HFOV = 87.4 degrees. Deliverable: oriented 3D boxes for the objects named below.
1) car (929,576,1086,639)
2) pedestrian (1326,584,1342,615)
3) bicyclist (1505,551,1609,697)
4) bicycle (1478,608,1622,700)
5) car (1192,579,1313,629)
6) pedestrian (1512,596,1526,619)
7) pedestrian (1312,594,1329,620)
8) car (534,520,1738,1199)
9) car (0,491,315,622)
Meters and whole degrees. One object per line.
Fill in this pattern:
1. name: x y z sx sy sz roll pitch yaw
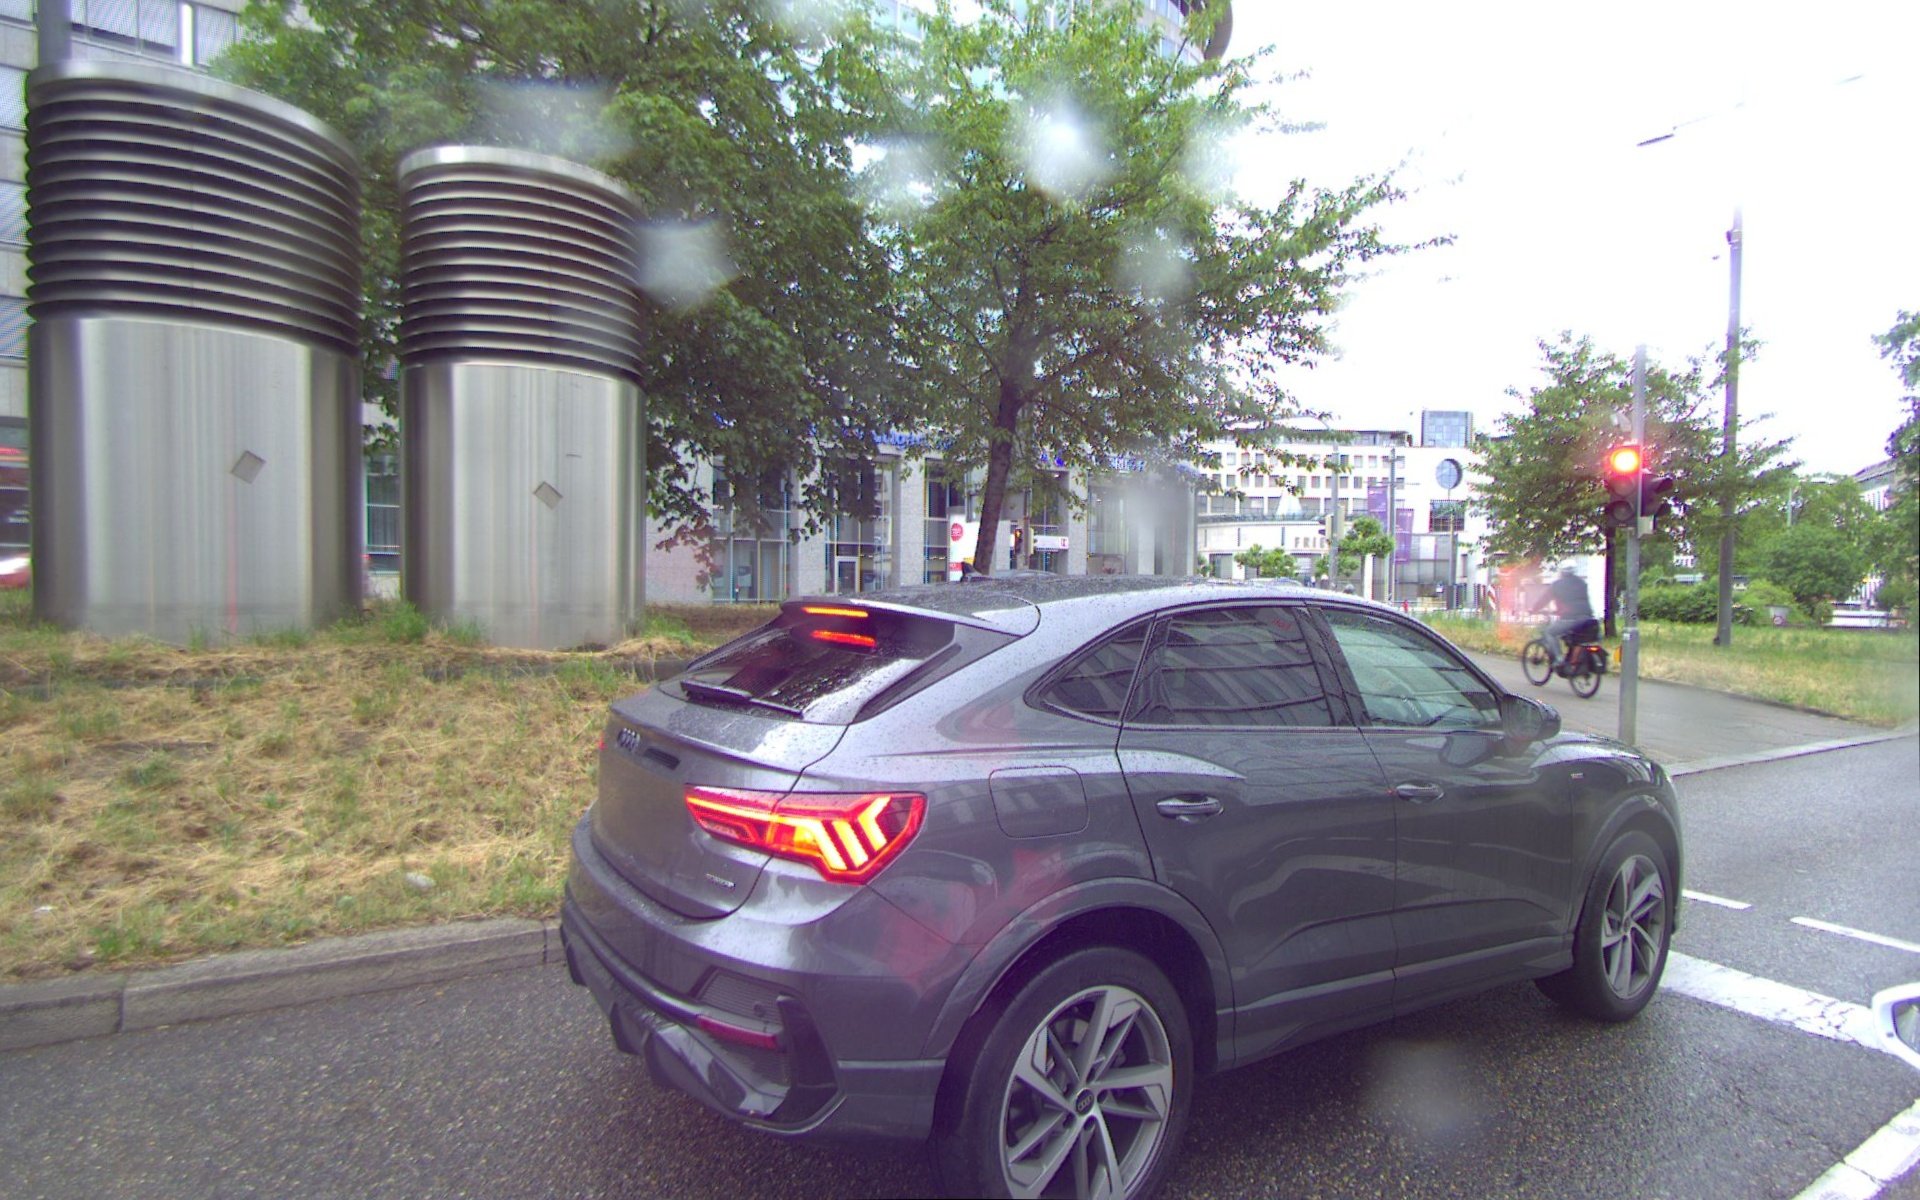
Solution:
1. car: 1.302 0.195 26.658 3.968 1.506 1.789 1 3 -41
2. pedestrian: 21.939 0.000 58.860 0.721 1.786 0.614 1 -2 -44
3. bicyclist: 9.022 0.326 15.232 0.748 2.111 1.084 1 4 -5
4. bicycle: 8.993 0.789 15.448 0.748 1.161 2.130 1 3 -5
5. car: 9.929 0.147 33.954 4.347 1.506 1.789 1 3 -40
6. pedestrian: 51.239 0.685 92.106 0.735 2.041 0.782 1 3 -42
7. pedestrian: 21.195 0.424 59.108 0.720 1.536 0.688 -1 -2 42
8. car: 0.885 0.668 3.641 4.209 1.638 1.836 0 2 -35
9. car: -12.391 -0.587 14.949 4.543 1.750 1.710 1 1 -39
